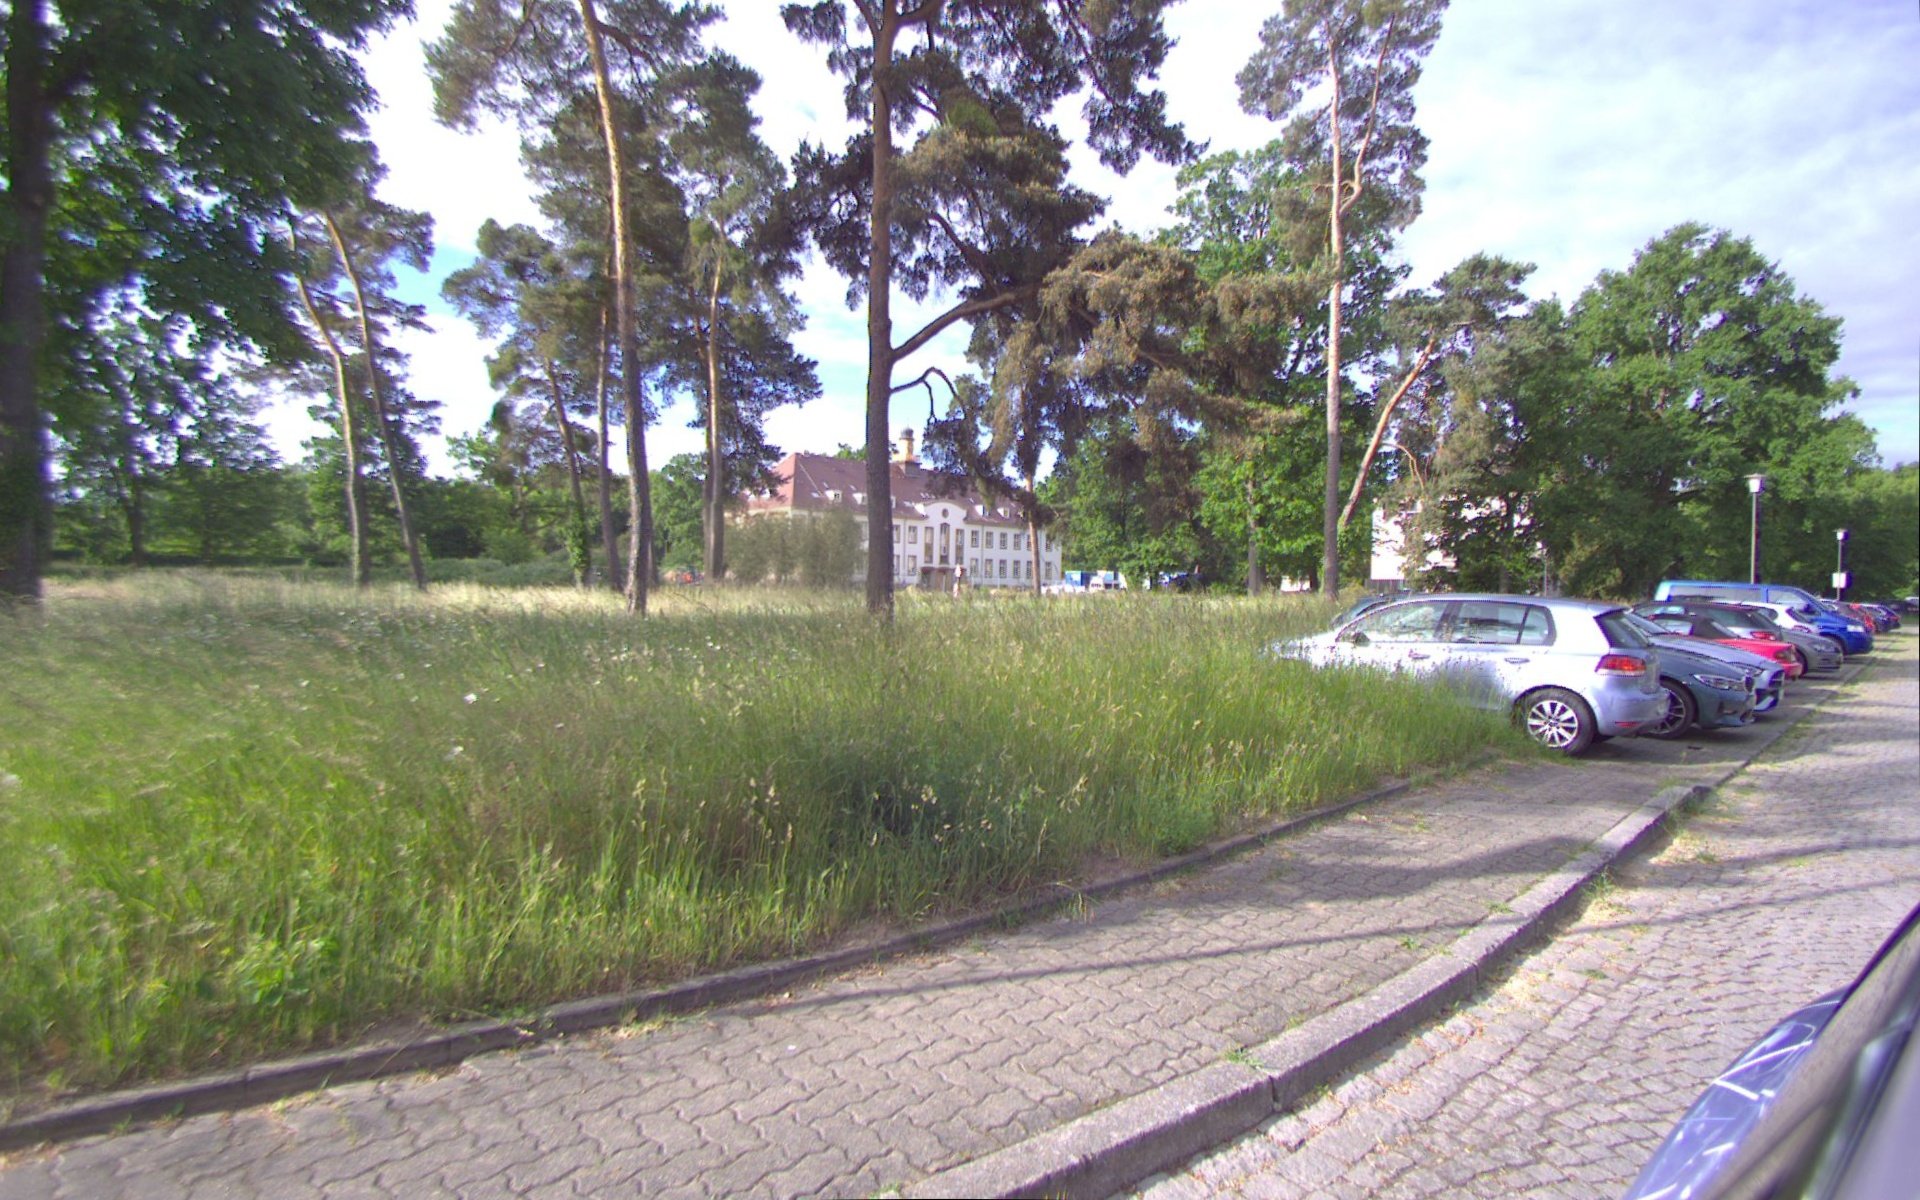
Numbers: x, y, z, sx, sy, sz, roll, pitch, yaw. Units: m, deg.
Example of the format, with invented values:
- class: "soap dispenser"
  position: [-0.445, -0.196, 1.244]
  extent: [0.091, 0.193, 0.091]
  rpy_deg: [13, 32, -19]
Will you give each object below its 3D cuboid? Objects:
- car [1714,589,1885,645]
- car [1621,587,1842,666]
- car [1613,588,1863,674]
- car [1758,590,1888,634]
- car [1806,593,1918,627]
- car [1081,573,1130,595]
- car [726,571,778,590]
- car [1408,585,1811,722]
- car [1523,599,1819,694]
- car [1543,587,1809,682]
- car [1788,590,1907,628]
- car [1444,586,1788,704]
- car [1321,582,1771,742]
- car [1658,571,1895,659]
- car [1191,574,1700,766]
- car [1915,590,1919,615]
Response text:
- class: "car"
  position: [27.760, 0.503, 33.540]
  extent: [4.192, 1.608, 1.848]
  rpy_deg: [3, 3, 44]
- class: "car"
  position: [17.907, 0.539, 23.608]
  extent: [1.778, 1.549, 3.878]
  rpy_deg: [-1, 3, -44]
- class: "car"
  position: [16.257, 0.569, 21.274]
  extent: [1.801, 1.485, 3.954]
  rpy_deg: [-1, 3, -44]
- class: "car"
  position: [34.762, 0.440, 40.818]
  extent: [3.879, 1.491, 1.660]
  rpy_deg: [4, 3, 44]
- class: "car"
  position: [45.412, 0.471, 51.009]
  extent: [1.753, 1.468, 4.032]
  rpy_deg: [-1, 3, -42]
- class: "car"
  position: [16.202, -1.750, 112.178]
  extent: [5.861, 2.328, 2.165]
  rpy_deg: [0, 2, -43]
- class: "car"
  position: [-22.748, -2.136, 110.778]
  extent: [5.637, 2.038, 2.597]
  rpy_deg: [2, 2, 39]
- class: "car"
  position: [9.004, 0.606, 14.326]
  extent: [1.820, 1.491, 4.510]
  rpy_deg: [-1, 3, -45]
- class: "car"
  position: [12.229, 0.707, 17.568]
  extent: [1.698, 1.276, 3.954]
  rpy_deg: [-1, 3, -44]
- class: "car"
  position: [13.803, 0.579, 19.671]
  extent: [1.743, 1.513, 3.954]
  rpy_deg: [-1, 3, -44]
- class: "car"
  position: [41.979, 0.388, 47.911]
  extent: [4.128, 1.588, 1.719]
  rpy_deg: [3, 3, 45]
- class: "car"
  position: [10.325, 0.591, 16.170]
  extent: [1.712, 1.491, 4.344]
  rpy_deg: [-1, 3, -45]
- class: "car"
  position: [7.022, 0.589, 12.444]
  extent: [4.504, 1.491, 1.867]
  rpy_deg: [3, 3, 41]
- class: "car"
  position: [21.798, 0.315, 27.160]
  extent: [4.736, 1.952, 1.960]
  rpy_deg: [5, 4, 45]
- class: "car"
  position: [4.976, 0.541, 10.842]
  extent: [4.545, 1.524, 1.903]
  rpy_deg: [3, 3, 44]
- class: "car"
  position: [81.673, 0.243, 82.811]
  extent: [1.968, 2.066, 5.068]
  rpy_deg: [0, 1, -45]
